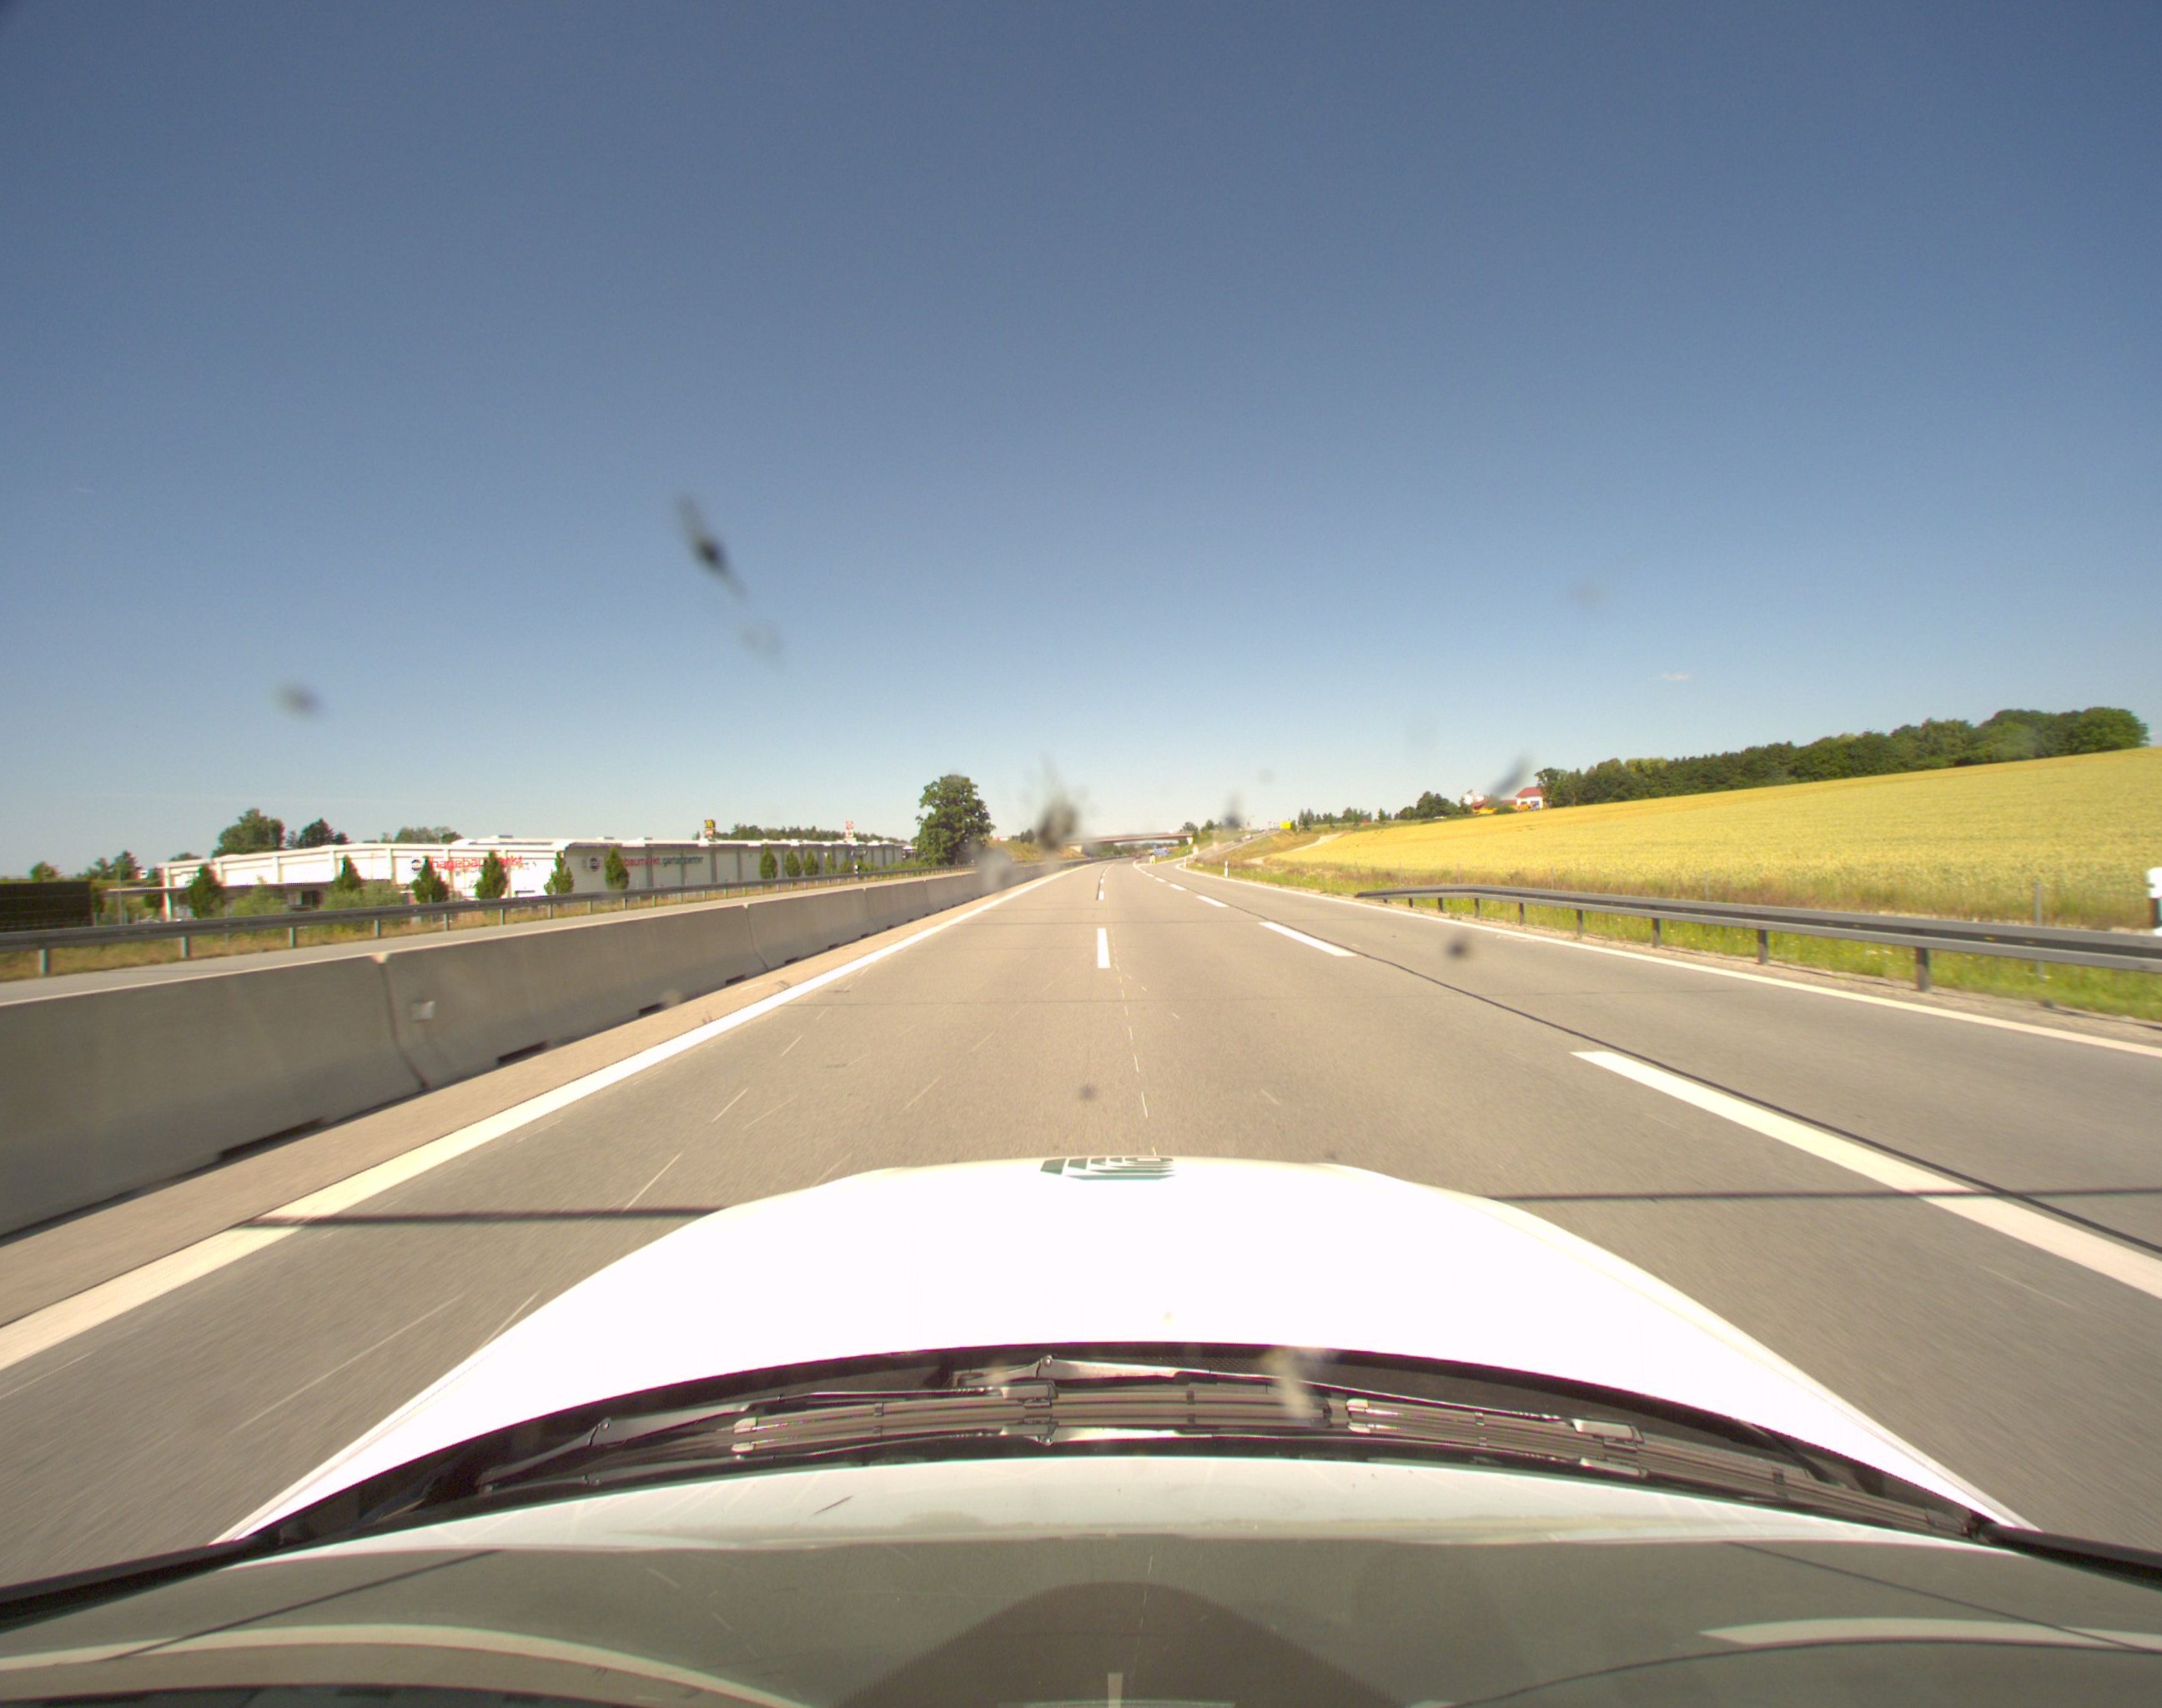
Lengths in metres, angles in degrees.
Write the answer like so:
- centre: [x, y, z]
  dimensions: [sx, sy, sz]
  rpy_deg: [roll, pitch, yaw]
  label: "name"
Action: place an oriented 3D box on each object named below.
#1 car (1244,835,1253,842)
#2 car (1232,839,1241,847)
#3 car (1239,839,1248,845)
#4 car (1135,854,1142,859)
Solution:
- centre: [52.609, -4.958, 256.159]
  dimensions: [1.977, 2.013, 4.020]
  rpy_deg: [-3, 0, 20]
  label: "car"
- centre: [46.641, -3.308, 243.679]
  dimensions: [1.977, 2.013, 4.020]
  rpy_deg: [-3, 0, 20]
  label: "car"
- centre: [46.525, -3.542, 233.475]
  dimensions: [1.977, 1.618, 4.020]
  rpy_deg: [-3, 0, 20]
  label: "car"
- centre: [17.953, 0.676, 253.636]
  dimensions: [1.984, 1.420, 4.005]
  rpy_deg: [-3, 0, 4]
  label: "car"
